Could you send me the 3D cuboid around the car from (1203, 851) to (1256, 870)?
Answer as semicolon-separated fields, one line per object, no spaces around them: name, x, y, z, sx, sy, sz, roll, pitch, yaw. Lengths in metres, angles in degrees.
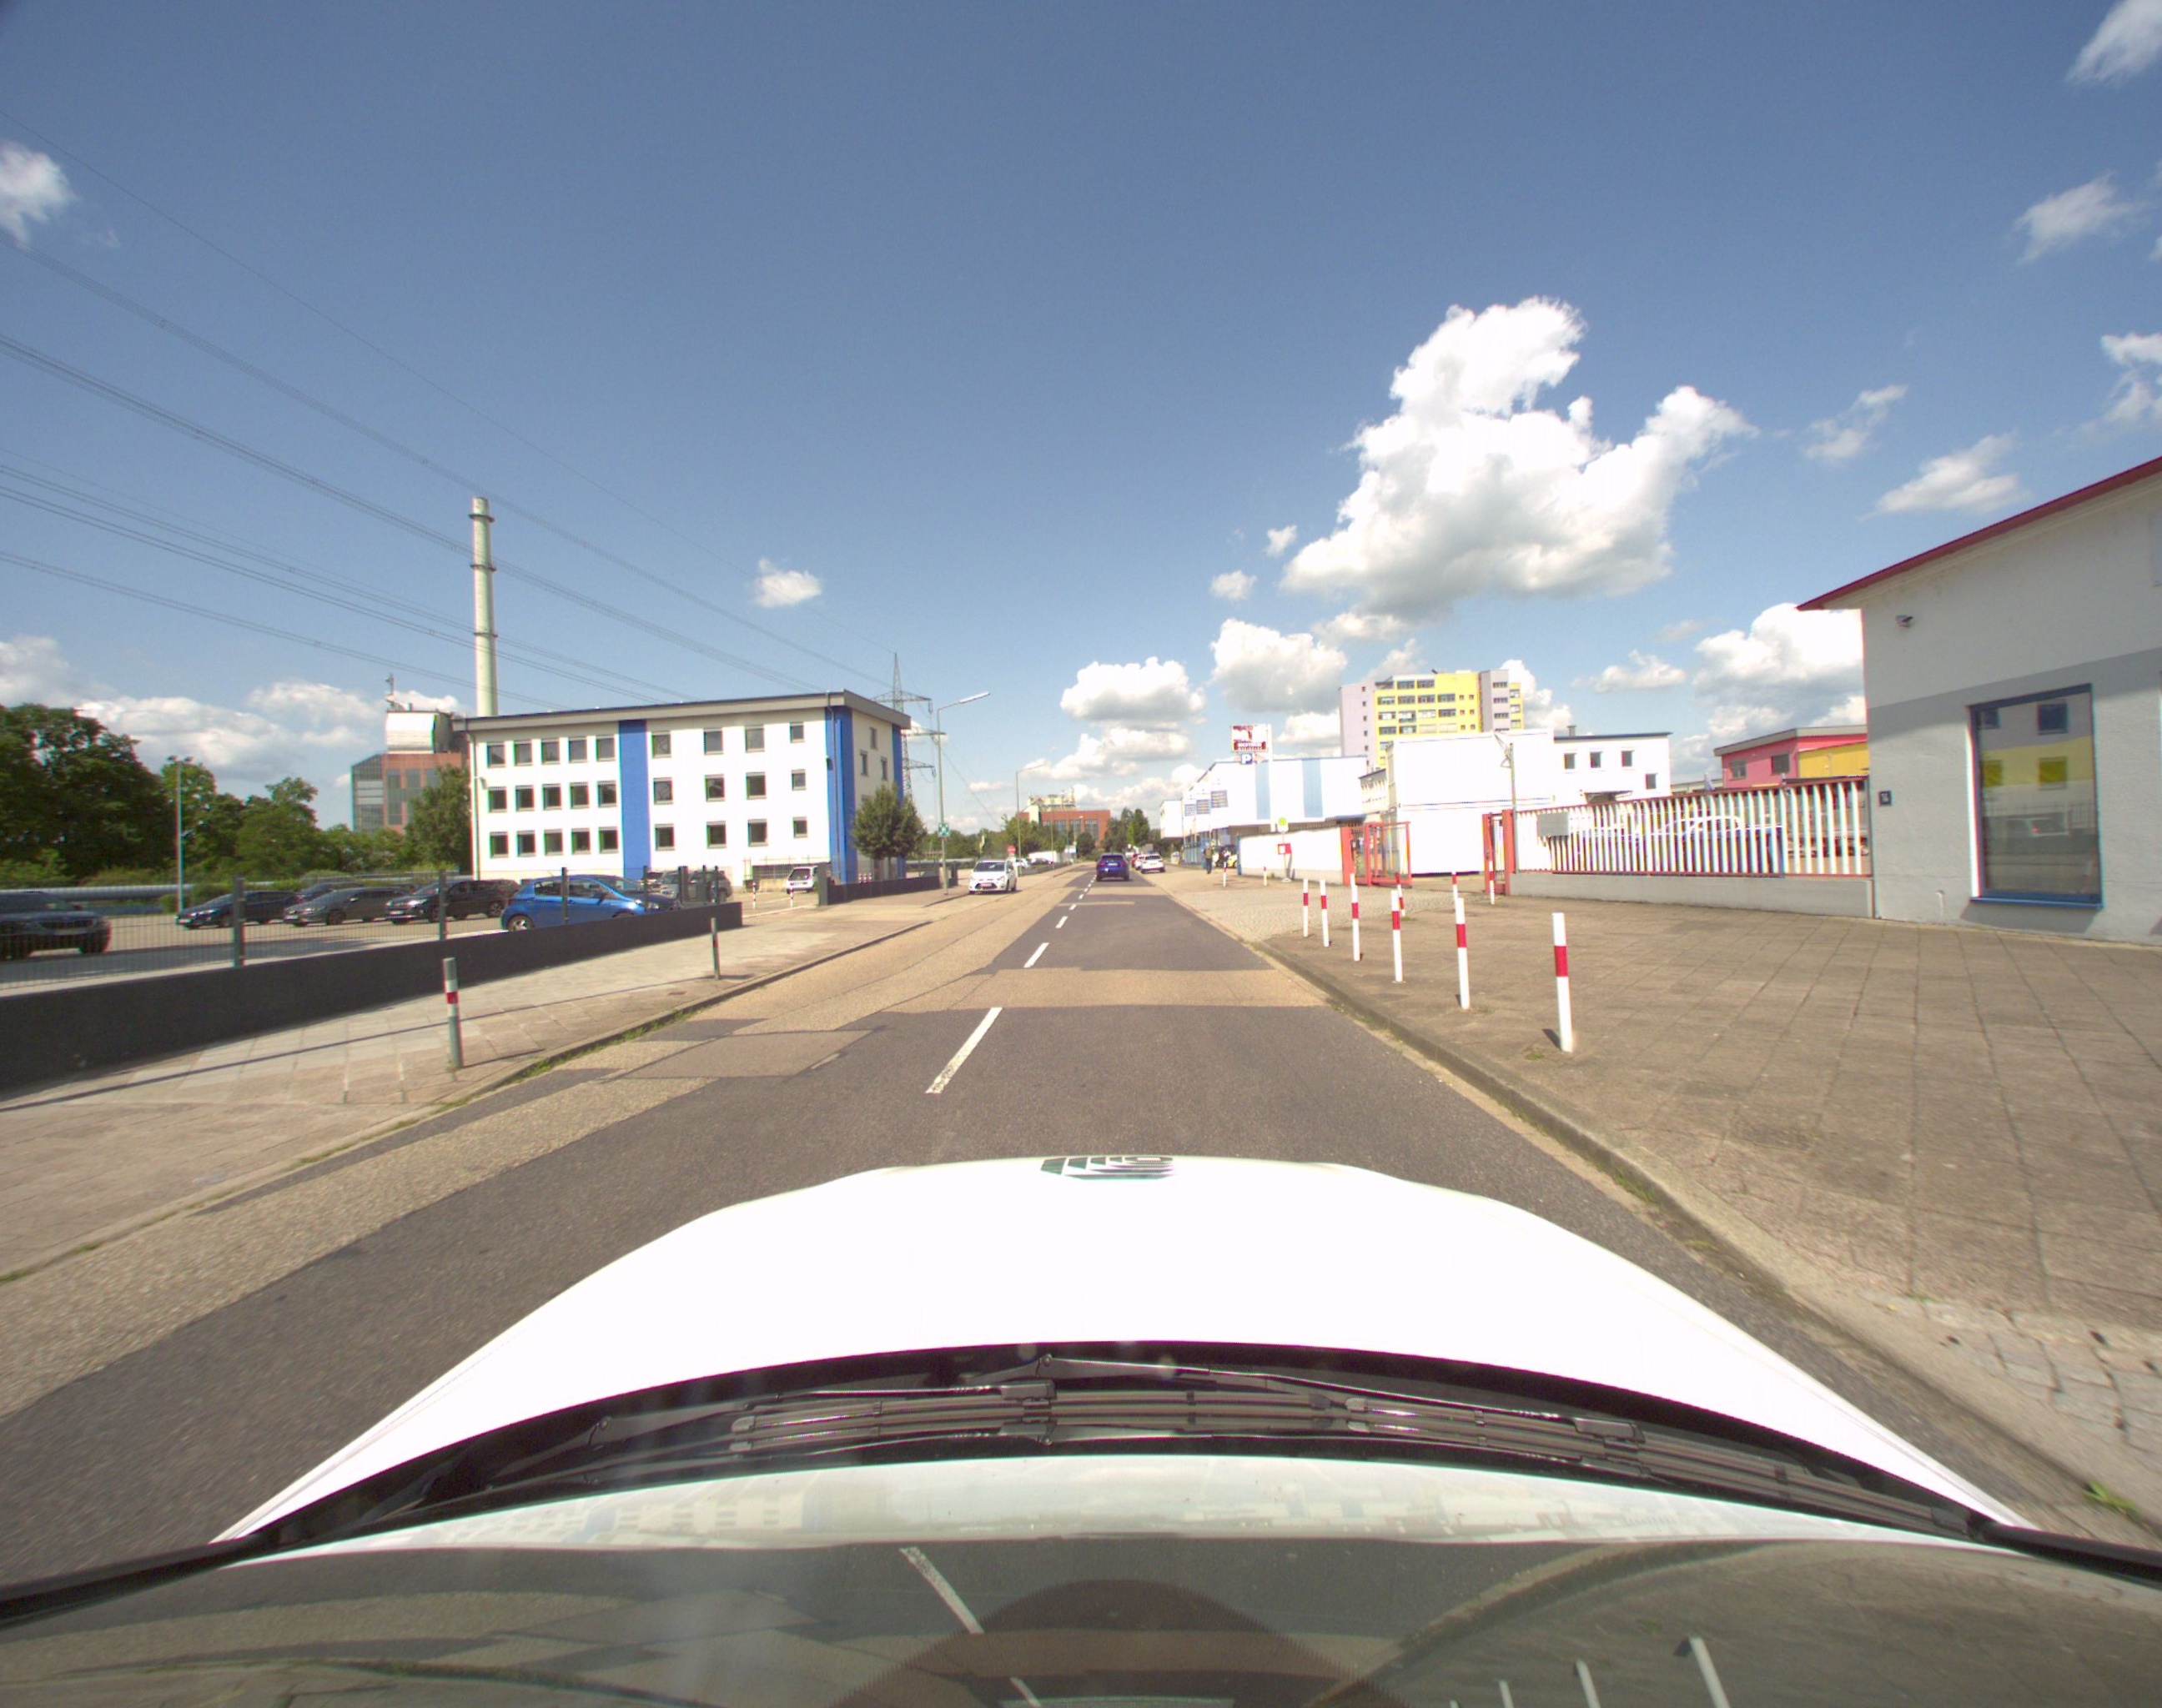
car;13.012;0.577;71.516;4.262;1.420;2.001;-3;0;2

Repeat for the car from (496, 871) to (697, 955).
car;-11.533;1.370;19.566;3.634;1.708;1.879;-3;-1;1

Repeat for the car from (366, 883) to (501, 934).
car;-26.036;2.143;32.931;1.863;1.708;4.075;-3;-1;7

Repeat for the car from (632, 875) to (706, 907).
car;-25.139;2.235;49.919;1.814;1.655;4.453;-3;-1;7

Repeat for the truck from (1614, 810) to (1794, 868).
truck;22.702;-0.536;29.788;5.181;1.744;1.997;-3;0;-4

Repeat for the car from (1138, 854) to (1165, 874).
car;5.669;0.784;65.839;1.861;1.520;4.599;-2;0;2

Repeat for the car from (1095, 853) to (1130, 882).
car;1.873;0.815;48.898;1.902;1.593;4.703;-2;0;2

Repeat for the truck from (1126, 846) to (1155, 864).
truck;13.397;0.178;183.611;2.298;3.567;9.427;-1;1;33

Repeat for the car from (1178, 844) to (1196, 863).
car;14.927;-0.057;114.785;1.916;2.464;5.262;-2;-1;2

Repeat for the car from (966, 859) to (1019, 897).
car;-4.214;1.107;39.444;1.861;1.708;4.754;-2;0;2

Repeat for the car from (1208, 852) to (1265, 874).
car;11.760;0.676;61.868;3.971;1.420;2.001;-3;0;2

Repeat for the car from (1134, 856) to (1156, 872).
car;6.154;0.953;78.423;1.828;1.520;4.463;-2;0;2

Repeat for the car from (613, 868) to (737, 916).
car;-16.089;1.450;32.608;1.813;1.636;4.858;-3;-1;10

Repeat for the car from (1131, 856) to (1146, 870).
car;6.872;1.058;97.213;1.747;1.650;4.682;-2;0;4

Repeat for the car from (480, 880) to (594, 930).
car;-21.581;1.992;32.471;1.862;1.708;3.487;-3;-1;8

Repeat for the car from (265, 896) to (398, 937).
car;-30.626;2.527;33.427;1.526;1.322;3.774;-3;0;13

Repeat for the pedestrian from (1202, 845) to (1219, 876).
pedestrian;7.602;0.378;47.901;0.766;1.756;0.787;-4;-1;1

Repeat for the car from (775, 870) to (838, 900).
car;-15.690;1.740;46.747;1.862;1.507;3.767;-3;-1;8

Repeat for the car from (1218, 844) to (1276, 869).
car;12.022;0.172;59.115;3.792;1.680;1.792;-2;-1;1

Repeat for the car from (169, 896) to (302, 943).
car;-35.594;2.712;34.443;1.645;1.617;3.991;-3;0;-6

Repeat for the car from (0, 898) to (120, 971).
car;-25.536;1.936;19.147;4.177;1.502;1.684;-3;-1;6

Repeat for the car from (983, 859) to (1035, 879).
car;-6.817;1.448;77.942;4.742;1.602;1.999;-4;0;-2

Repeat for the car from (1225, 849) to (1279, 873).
car;11.899;0.480;56.789;3.391;1.490;1.792;-2;-1;1
